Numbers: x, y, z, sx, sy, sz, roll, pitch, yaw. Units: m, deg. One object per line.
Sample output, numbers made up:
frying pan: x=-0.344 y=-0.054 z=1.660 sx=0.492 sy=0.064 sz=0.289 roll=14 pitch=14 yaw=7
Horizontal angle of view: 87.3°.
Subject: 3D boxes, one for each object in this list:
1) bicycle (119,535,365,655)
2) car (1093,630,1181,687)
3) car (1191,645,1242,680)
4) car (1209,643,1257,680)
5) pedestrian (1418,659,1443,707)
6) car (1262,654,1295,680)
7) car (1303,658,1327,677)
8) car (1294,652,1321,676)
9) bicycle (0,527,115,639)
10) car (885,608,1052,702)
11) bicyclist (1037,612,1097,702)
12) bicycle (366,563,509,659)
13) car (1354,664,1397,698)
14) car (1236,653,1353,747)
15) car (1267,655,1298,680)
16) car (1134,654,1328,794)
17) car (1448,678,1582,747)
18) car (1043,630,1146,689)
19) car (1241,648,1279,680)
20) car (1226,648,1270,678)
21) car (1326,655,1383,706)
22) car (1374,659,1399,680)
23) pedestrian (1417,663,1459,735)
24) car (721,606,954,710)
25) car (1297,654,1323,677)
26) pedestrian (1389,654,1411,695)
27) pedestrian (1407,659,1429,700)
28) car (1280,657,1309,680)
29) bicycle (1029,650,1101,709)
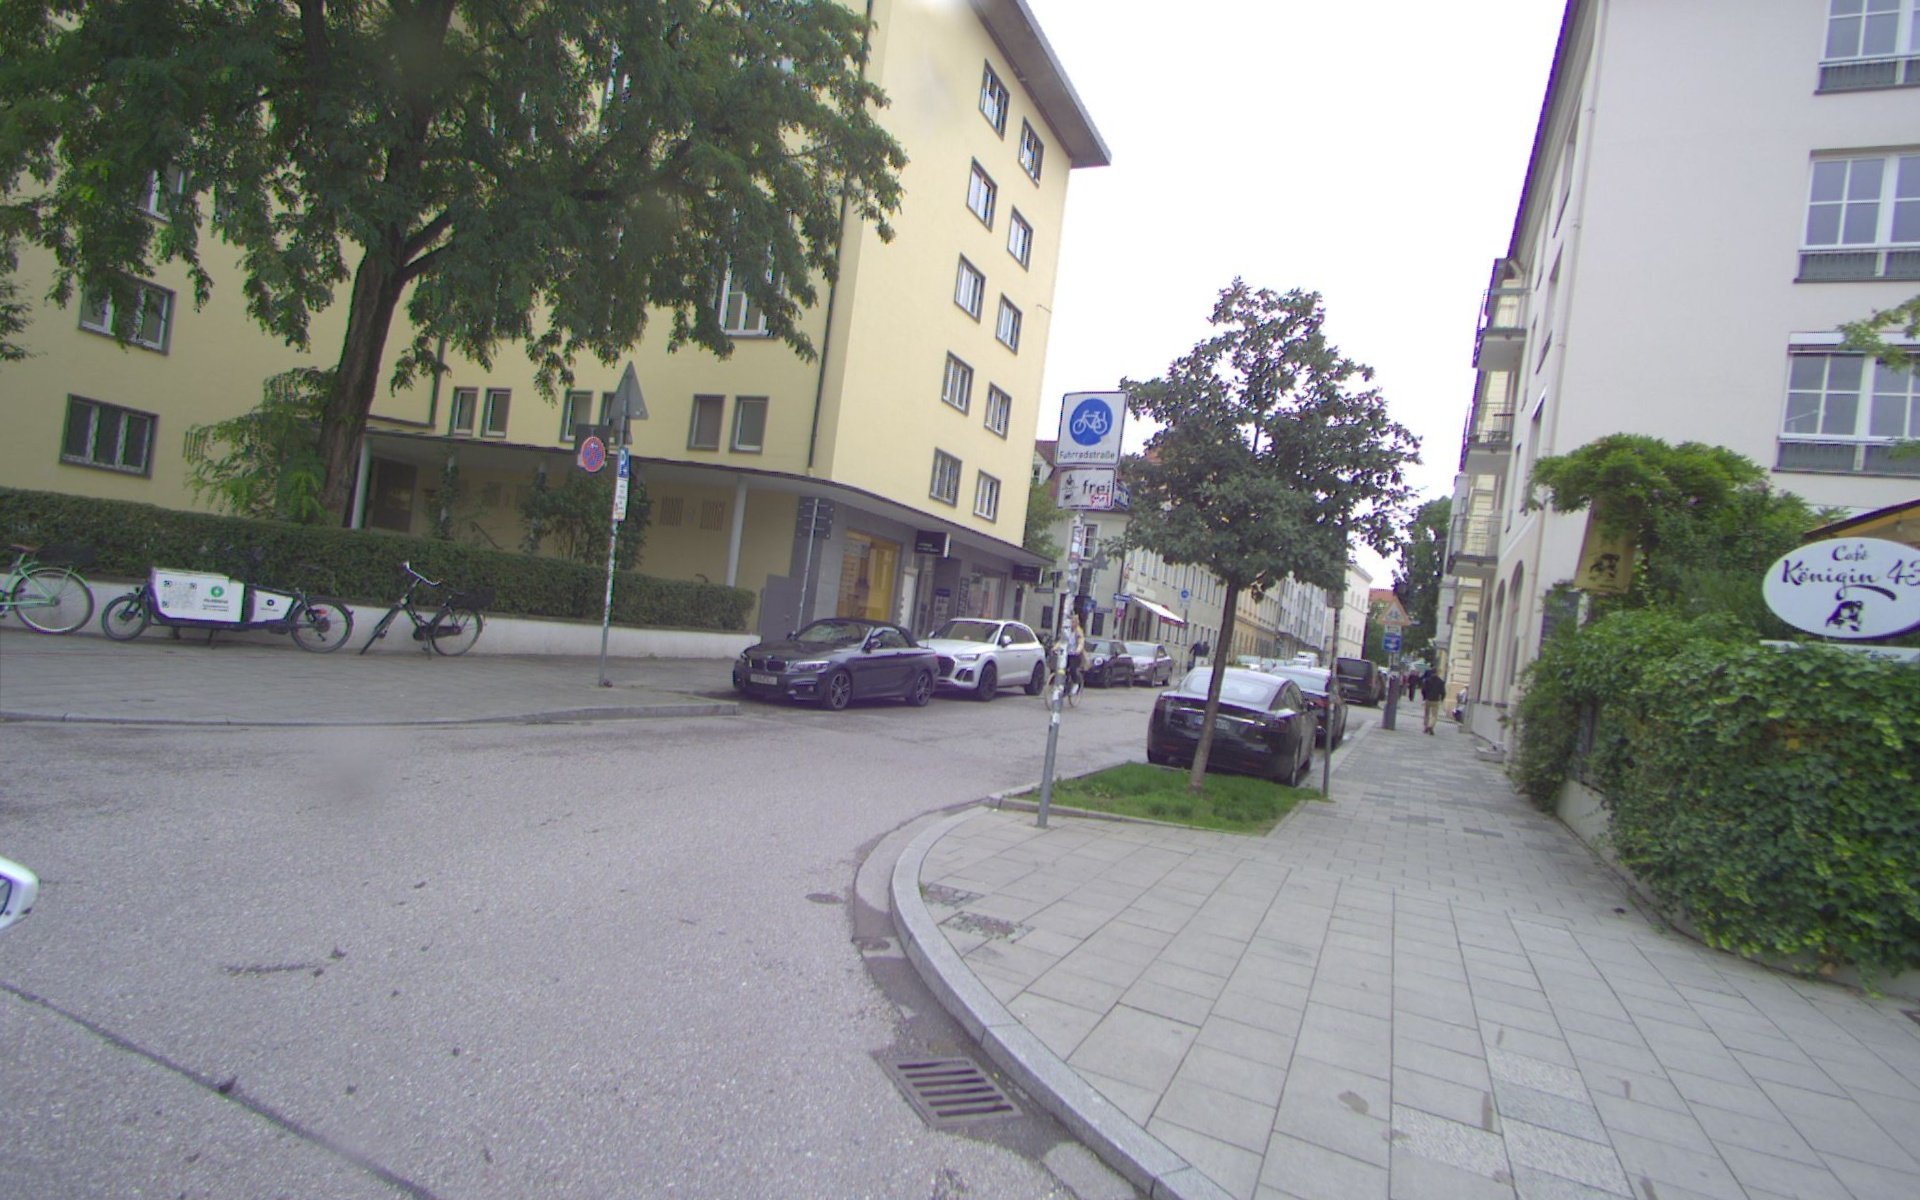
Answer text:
bicycle: x=-8.305 y=-0.019 z=11.731 sx=0.631 sy=1.129 sz=2.165 roll=7 pitch=-1 yaw=41
car: x=5.996 y=1.993 z=33.737 sx=1.792 sy=1.548 sz=3.998 roll=7 pitch=-1 yaw=25
car: x=12.679 y=3.095 z=49.510 sx=1.711 sy=1.439 sz=4.000 roll=7 pitch=-1 yaw=23
car: x=14.670 y=3.317 z=53.999 sx=1.757 sy=1.682 sz=3.999 roll=7 pitch=-1 yaw=24
pedestrian: x=20.911 y=3.678 z=44.721 sx=0.742 sy=2.038 sz=0.831 roll=7 pitch=0 yaw=25
car: x=21.189 y=4.449 z=66.848 sx=1.662 sy=1.426 sz=3.999 roll=7 pitch=0 yaw=22
car: x=33.536 y=6.325 z=94.942 sx=1.673 sy=1.526 sz=3.997 roll=7 pitch=0 yaw=25
car: x=28.009 y=5.151 z=80.996 sx=1.757 sy=1.682 sz=4.001 roll=7 pitch=-1 yaw=22
bicycle: x=-10.204 y=-0.230 z=10.546 sx=1.923 sy=1.098 sz=0.526 roll=6 pitch=0 yaw=-22
car: x=0.316 y=1.140 z=21.427 sx=1.825 sy=1.682 sz=4.316 roll=4 pitch=-1 yaw=25
bicyclist: x=2.122 y=1.136 z=19.909 sx=0.684 sy=1.676 sz=1.006 roll=7 pitch=0 yaw=26
bicycle: x=-6.964 y=0.185 z=13.502 sx=0.452 sy=1.144 sz=1.687 roll=7 pitch=-1 yaw=24
car: x=23.014 y=4.452 z=55.652 sx=1.797 sy=1.536 sz=4.236 roll=7 pitch=0 yaw=26
car: x=7.090 y=2.048 z=21.065 sx=1.693 sy=1.548 sz=3.998 roll=7 pitch=-1 yaw=26
car: x=22.773 y=4.741 z=70.965 sx=1.662 sy=1.426 sz=3.501 roll=7 pitch=0 yaw=22
car: x=4.049 y=1.652 z=14.421 sx=1.934 sy=1.415 sz=4.504 roll=7 pitch=-1 yaw=23
car: x=17.181 y=3.453 z=31.296 sx=3.420 sy=1.548 sz=1.575 roll=7 pitch=0 yaw=27
car: x=4.080 y=1.806 z=29.954 sx=1.794 sy=1.417 sz=3.998 roll=7 pitch=-1 yaw=25
car: x=18.571 y=3.957 z=62.248 sx=1.757 sy=1.682 sz=4.001 roll=7 pitch=-1 yaw=22
car: x=16.626 y=3.656 z=57.958 sx=1.757 sy=1.431 sz=3.999 roll=7 pitch=-1 yaw=24
car: x=16.629 y=3.369 z=42.306 sx=1.787 sy=1.796 sz=3.998 roll=7 pitch=-1 yaw=26
car: x=35.365 y=5.756 z=83.462 sx=1.673 sy=1.526 sz=3.998 roll=7 pitch=0 yaw=23
pedestrian: x=12.395 y=2.548 z=26.110 sx=0.774 sy=1.735 sz=0.831 roll=7 pitch=0 yaw=25
car: x=-1.838 y=0.994 z=16.630 sx=1.633 sy=1.383 sz=4.331 roll=4 pitch=-2 yaw=27
car: x=29.818 y=5.565 z=85.585 sx=1.757 sy=1.682 sz=4.001 roll=7 pitch=-1 yaw=22
pedestrian: x=23.058 y=3.912 z=52.731 sx=0.774 sy=2.038 sz=0.832 roll=7 pitch=0 yaw=20
pedestrian: x=23.802 y=4.142 z=52.293 sx=0.774 sy=2.038 sz=0.832 roll=7 pitch=0 yaw=20
car: x=25.035 y=5.126 z=75.249 sx=1.662 sy=1.426 sz=3.501 roll=7 pitch=0 yaw=22
bicycle: x=2.113 y=1.583 z=19.996 sx=0.672 sy=1.036 sz=1.966 roll=7 pitch=-1 yaw=26
